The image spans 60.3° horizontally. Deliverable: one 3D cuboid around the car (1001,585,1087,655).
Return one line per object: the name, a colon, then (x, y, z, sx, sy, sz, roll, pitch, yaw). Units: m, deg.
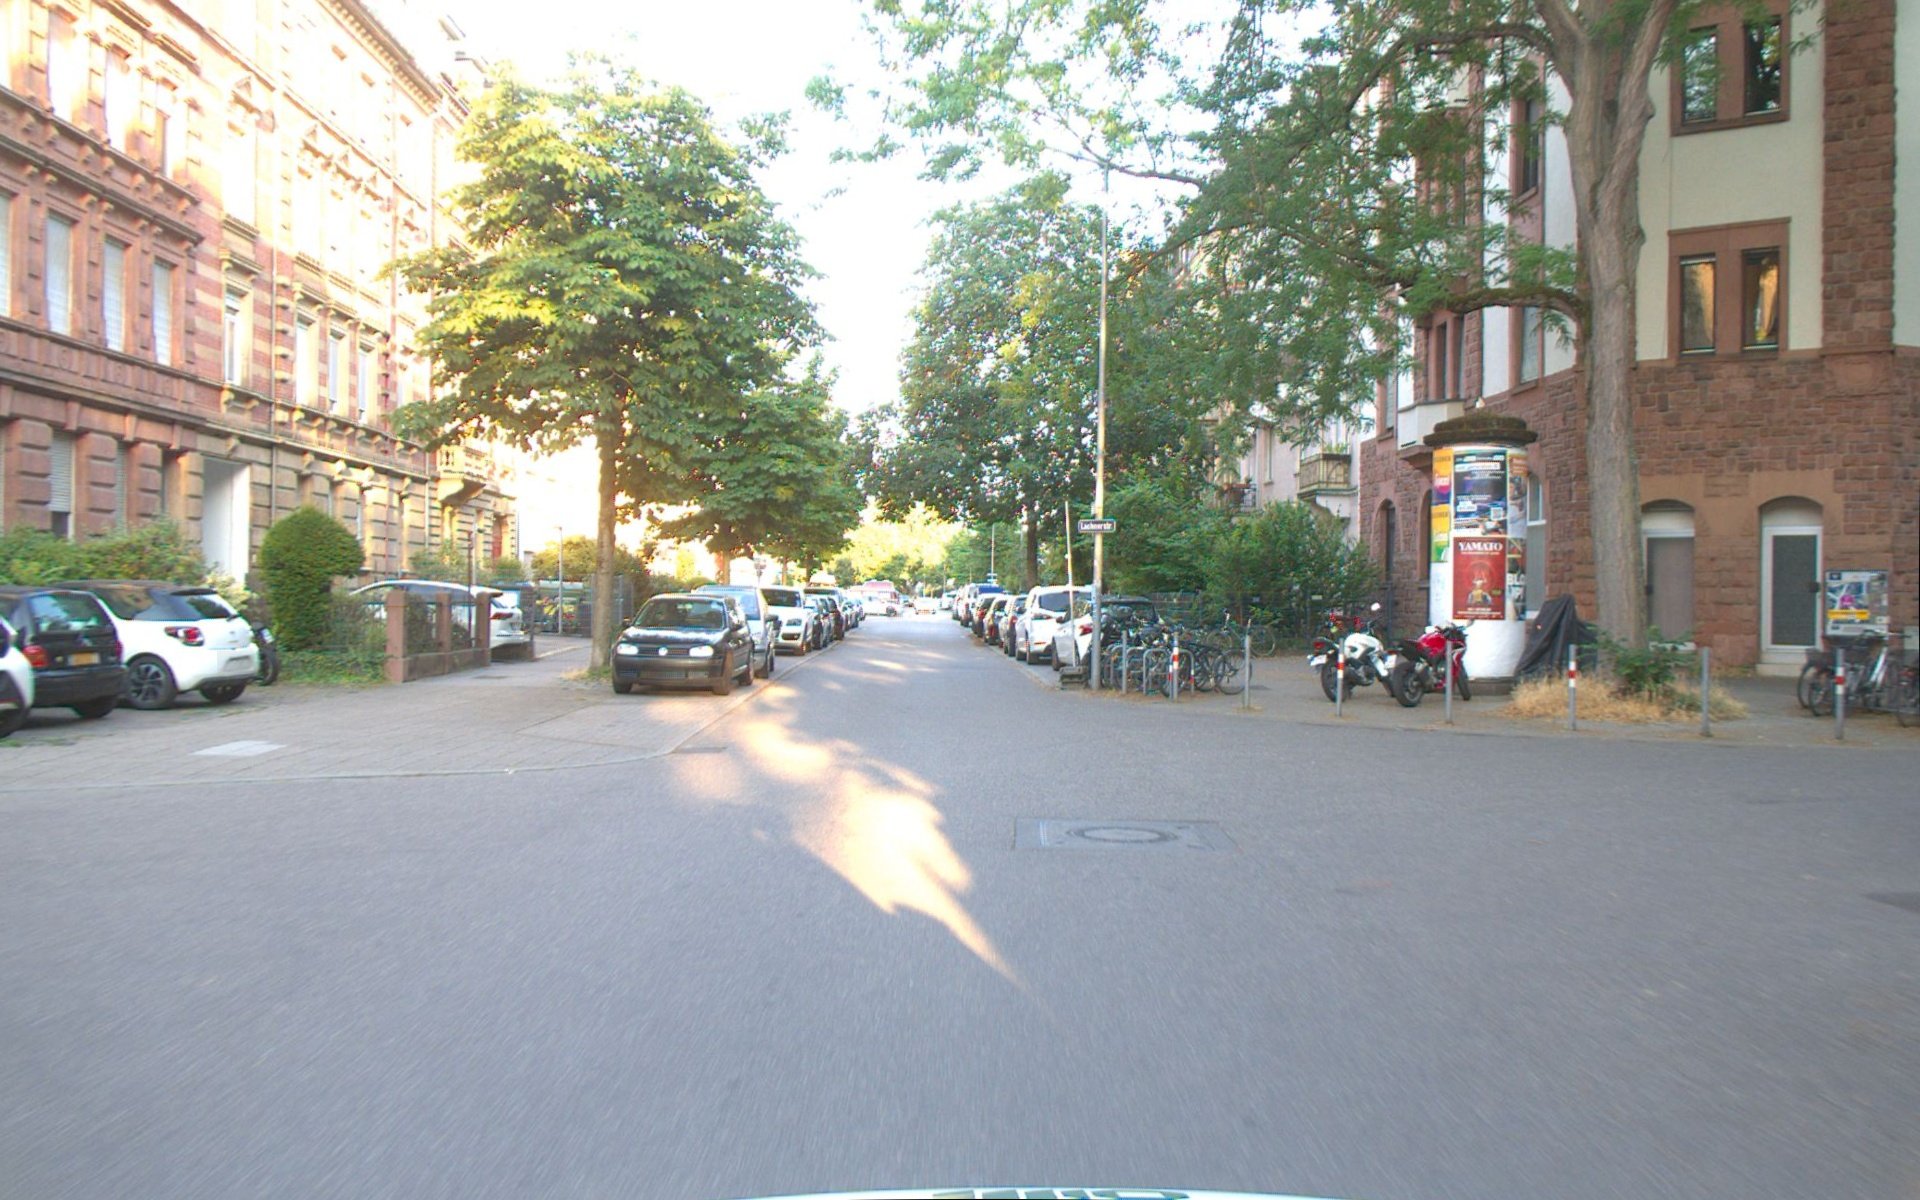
car: (2.046, 0.483, 41.490, 1.653, 1.634, 4.206, 1, 0, -4)

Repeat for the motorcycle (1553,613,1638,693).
motorcycle: (9.526, 0.768, 24.765, 0.430, 1.098, 2.097, 1, 2, 43)

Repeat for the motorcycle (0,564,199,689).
motorcycle: (-12.029, 0.357, 22.837, 2.791, 1.667, 0.675, 1, 0, 7)

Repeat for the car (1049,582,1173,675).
car: (2.766, 0.490, 30.917, 1.654, 1.620, 3.655, 1, 1, -5)

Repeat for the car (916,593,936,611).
car: (-3.083, 0.155, 151.245, 1.776, 1.624, 3.482, 1, 1, -2)

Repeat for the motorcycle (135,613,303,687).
motorcycle: (-10.575, 0.705, 23.624, 2.188, 0.975, 0.588, 1, 0, 8)

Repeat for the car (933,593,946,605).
car: (-2.766, -0.136, 219.452, 1.681, 1.624, 3.482, 1, 1, -2)

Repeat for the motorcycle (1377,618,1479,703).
motorcycle: (6.642, 0.833, 23.399, 0.430, 1.098, 2.198, 1, 2, 43)

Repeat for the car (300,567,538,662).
car: (-10.467, 0.272, 32.221, 4.011, 1.554, 1.708, 4, 0, -3)

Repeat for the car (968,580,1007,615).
car: (1.260, -0.117, 76.434, 1.508, 1.548, 3.429, 1, 0, -4)

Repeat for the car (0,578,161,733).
car: (-10.829, 0.507, 17.411, 4.005, 1.472, 1.819, 1, 1, 9)

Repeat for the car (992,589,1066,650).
car: (1.901, 0.535, 46.534, 1.653, 1.634, 3.745, 1, 0, -4)

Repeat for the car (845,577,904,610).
car: (-6.325, -0.511, 122.575, 4.263, 2.358, 1.744, 1, 0, -3)

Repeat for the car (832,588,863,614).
car: (-6.745, 0.074, 99.432, 1.681, 1.512, 3.630, 1, -1, -1)

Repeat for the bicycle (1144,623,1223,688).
bicycle: (3.476, 0.852, 25.720, 1.205, 0.980, 0.329, 0, 1, -19)

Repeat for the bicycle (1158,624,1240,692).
bicycle: (3.633, 0.877, 25.161, 1.200, 1.005, 0.330, -1, 1, -5)

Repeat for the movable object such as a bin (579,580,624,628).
movable object such as a bin: (-10.427, 0.108, 48.129, 0.992, 1.344, 1.005, 3, 1, 3)

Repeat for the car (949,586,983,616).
car: (0.316, 0.045, 94.448, 1.653, 1.634, 3.936, 1, 0, -4)

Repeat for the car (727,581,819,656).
car: (-4.604, 0.420, 41.356, 1.882, 1.747, 4.426, 1, 1, -2)

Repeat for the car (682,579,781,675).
car: (-4.137, 0.446, 30.333, 1.564, 1.631, 3.741, 1, 1, -5)

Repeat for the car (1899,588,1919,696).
car: (14.642, 0.617, 22.107, 1.650, 1.503, 3.415, 1, 0, -18)

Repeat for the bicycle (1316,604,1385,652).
bicycle: (8.801, 0.630, 37.282, 1.479, 1.052, 0.330, -1, 1, -4)

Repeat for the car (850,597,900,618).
car: (-6.178, 0.550, 119.688, 3.548, 1.487, 1.605, 1, 0, -5)

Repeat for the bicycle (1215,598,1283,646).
bicycle: (6.547, 0.499, 37.436, 1.479, 1.052, 0.330, -1, 1, -4)

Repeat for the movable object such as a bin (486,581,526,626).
movable object such as a bin: (-13.215, 0.093, 48.182, 1.078, 1.230, 1.001, 3, 1, -16)

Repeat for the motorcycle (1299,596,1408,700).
motorcycle: (5.804, 0.675, 24.314, 0.575, 1.432, 2.199, 1, 2, 42)

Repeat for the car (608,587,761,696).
car: (-4.111, 0.573, 25.248, 1.583, 1.496, 3.962, 1, 1, 1)

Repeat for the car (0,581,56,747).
car: (-10.602, 0.549, 14.953, 4.005, 1.472, 1.710, 1, 1, 7)

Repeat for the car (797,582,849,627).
car: (-5.158, 0.152, 62.538, 1.681, 1.624, 4.517, 1, 0, -2)

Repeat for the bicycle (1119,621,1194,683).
bicycle: (3.191, 0.838, 26.804, 1.208, 0.964, 0.328, 0, 1, -24)

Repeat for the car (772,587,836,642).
car: (-4.773, 0.428, 50.996, 1.681, 1.593, 3.787, 1, 1, -2)

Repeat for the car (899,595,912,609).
car: (-7.002, 0.246, 212.868, 1.681, 1.624, 3.482, 1, 1, -2)

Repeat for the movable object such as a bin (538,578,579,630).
movable object such as a bin: (-11.637, 0.108, 47.926, 1.078, 1.439, 1.001, 3, 1, -16)

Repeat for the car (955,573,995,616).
car: (0.702, -0.262, 80.222, 1.647, 1.975, 3.877, 1, 0, -4)

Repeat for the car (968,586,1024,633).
car: (1.286, 0.343, 59.988, 1.653, 1.634, 3.936, 1, 0, -4)

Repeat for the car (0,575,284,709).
car: (-10.340, 0.465, 20.081, 3.487, 1.472, 1.819, 1, 1, 7)

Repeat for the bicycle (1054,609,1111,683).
bicycle: (2.059, 0.745, 27.605, 0.434, 1.193, 1.635, 1, 0, 23)

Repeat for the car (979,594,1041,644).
car: (1.537, 0.564, 51.904, 1.653, 1.466, 4.208, -1, 0, -2)

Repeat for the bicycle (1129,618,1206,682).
bicycle: (3.279, 0.779, 26.106, 1.208, 0.974, 0.328, 0, 1, -24)

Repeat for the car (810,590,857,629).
car: (-5.088, 0.363, 67.061, 1.681, 1.490, 3.986, 1, 1, -2)

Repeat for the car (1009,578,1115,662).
car: (2.197, 0.419, 36.690, 1.762, 1.741, 4.597, 0, 0, -4)

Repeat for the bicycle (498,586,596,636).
bicycle: (-11.399, 0.294, 45.653, 2.476, 1.212, 0.644, 3, 1, 4)

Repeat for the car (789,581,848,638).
car: (-4.670, 0.279, 55.058, 1.681, 1.821, 4.214, 1, 1, -2)

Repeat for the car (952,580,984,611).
car: (0.449, -0.284, 100.855, 1.653, 1.843, 3.936, 1, 0, -4)

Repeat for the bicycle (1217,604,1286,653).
bicycle: (6.502, 0.634, 36.949, 1.479, 1.052, 0.330, -1, 1, -4)

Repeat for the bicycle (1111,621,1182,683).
bicycle: (3.096, 0.855, 27.416, 1.211, 0.968, 0.327, -1, 1, -30)

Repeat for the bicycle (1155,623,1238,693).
bicycle: (3.543, 0.864, 24.802, 1.200, 1.004, 0.330, -1, 1, -4)

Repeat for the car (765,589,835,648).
car: (-4.494, 0.514, 46.838, 1.681, 1.594, 3.780, 1, 0, -2)

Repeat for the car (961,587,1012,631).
car: (1.014, 0.357, 64.549, 1.653, 1.634, 3.936, 1, 0, -4)
